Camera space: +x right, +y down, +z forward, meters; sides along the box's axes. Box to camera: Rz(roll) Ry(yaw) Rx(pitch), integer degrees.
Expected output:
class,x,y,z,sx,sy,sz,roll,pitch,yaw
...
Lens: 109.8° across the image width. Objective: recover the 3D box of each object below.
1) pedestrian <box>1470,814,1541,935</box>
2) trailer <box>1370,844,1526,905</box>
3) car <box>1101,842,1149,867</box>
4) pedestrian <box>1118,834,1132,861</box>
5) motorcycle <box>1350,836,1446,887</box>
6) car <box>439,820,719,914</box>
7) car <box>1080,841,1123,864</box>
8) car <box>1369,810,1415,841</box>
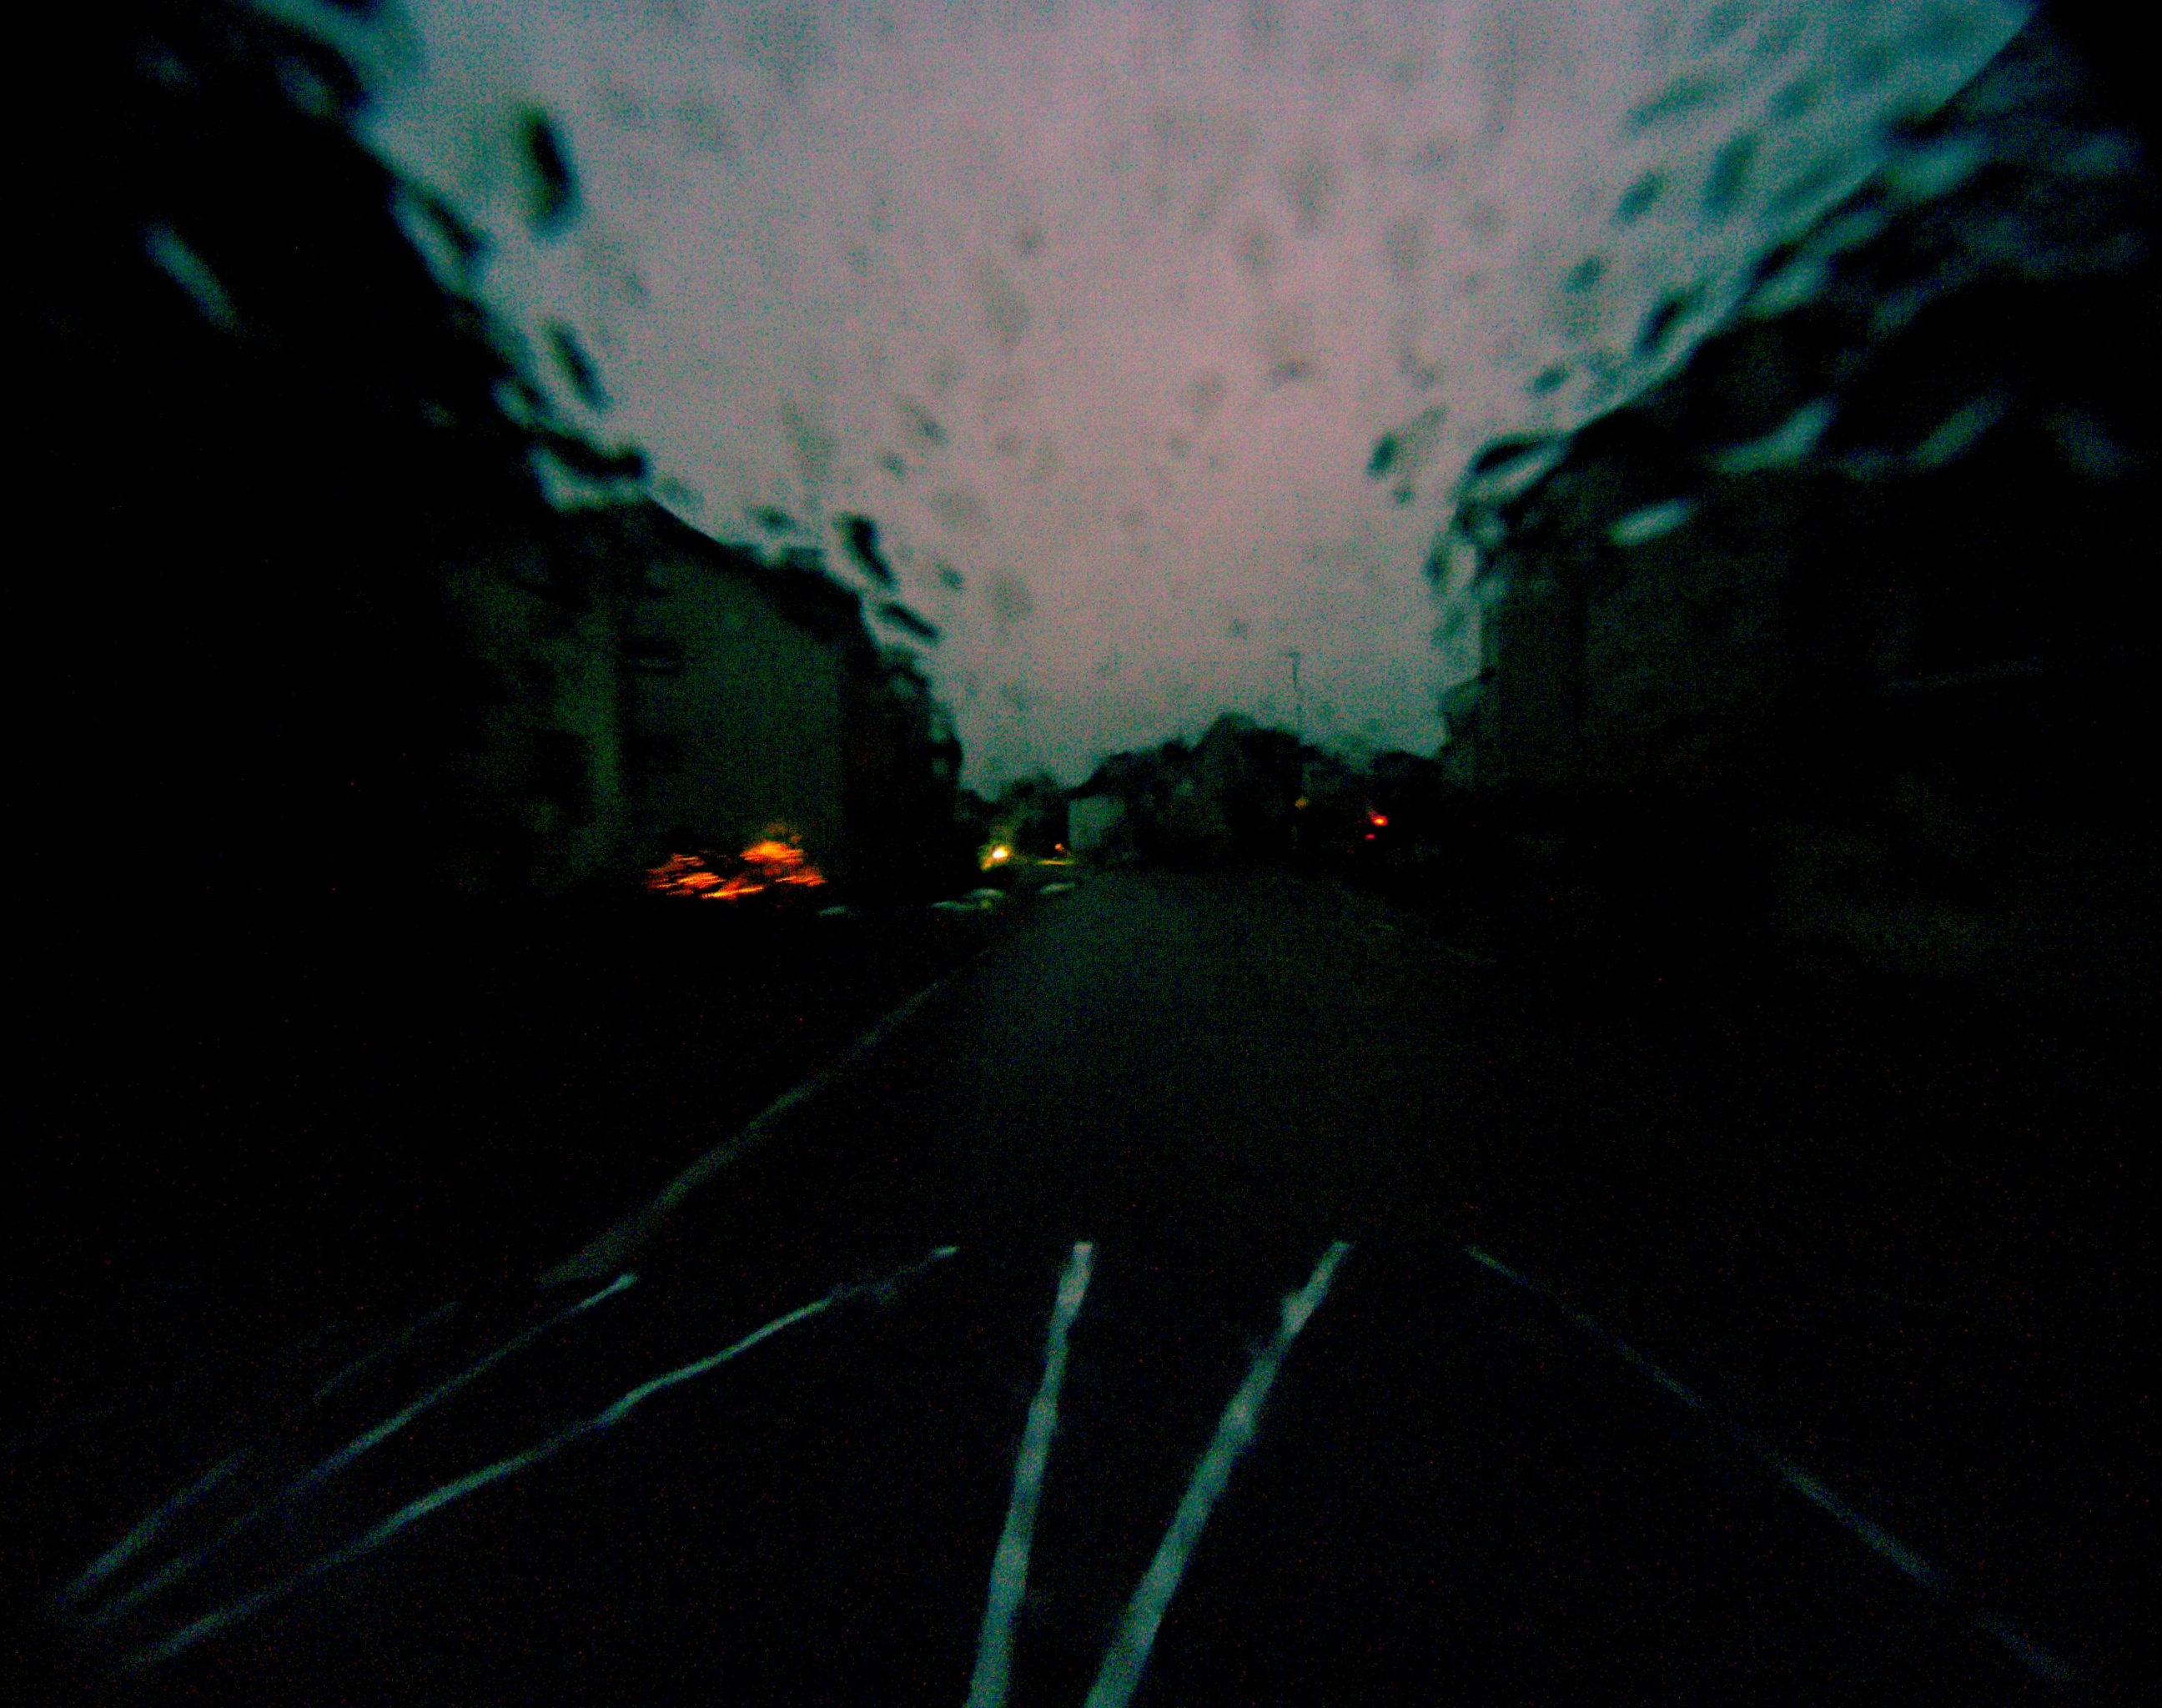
class,x,y,z,sx,sy,sz,roll,pitch,yaw
pedestrian,6.378,0.287,11.446,0.599,1.723,0.812,-4,3,5
trailer,8.590,0.398,18.317,2.062,1.162,4.870,-2,1,9
car,2.710,0.006,47.930,1.755,1.381,4.140,-4,1,-15
pedestrian,3.024,-0.458,52.372,0.708,1.769,0.811,-4,3,-11
motorcycle,8.931,0.233,21.433,2.232,1.291,1.059,-3,2,40
car,-10.041,0.253,15.560,4.265,1.639,2.062,2,1,-8
car,1.412,-0.101,53.489,1.830,1.432,4.062,-4,1,-15
car,19.965,-1.844,48.702,1.995,1.623,4.005,-3,3,32
